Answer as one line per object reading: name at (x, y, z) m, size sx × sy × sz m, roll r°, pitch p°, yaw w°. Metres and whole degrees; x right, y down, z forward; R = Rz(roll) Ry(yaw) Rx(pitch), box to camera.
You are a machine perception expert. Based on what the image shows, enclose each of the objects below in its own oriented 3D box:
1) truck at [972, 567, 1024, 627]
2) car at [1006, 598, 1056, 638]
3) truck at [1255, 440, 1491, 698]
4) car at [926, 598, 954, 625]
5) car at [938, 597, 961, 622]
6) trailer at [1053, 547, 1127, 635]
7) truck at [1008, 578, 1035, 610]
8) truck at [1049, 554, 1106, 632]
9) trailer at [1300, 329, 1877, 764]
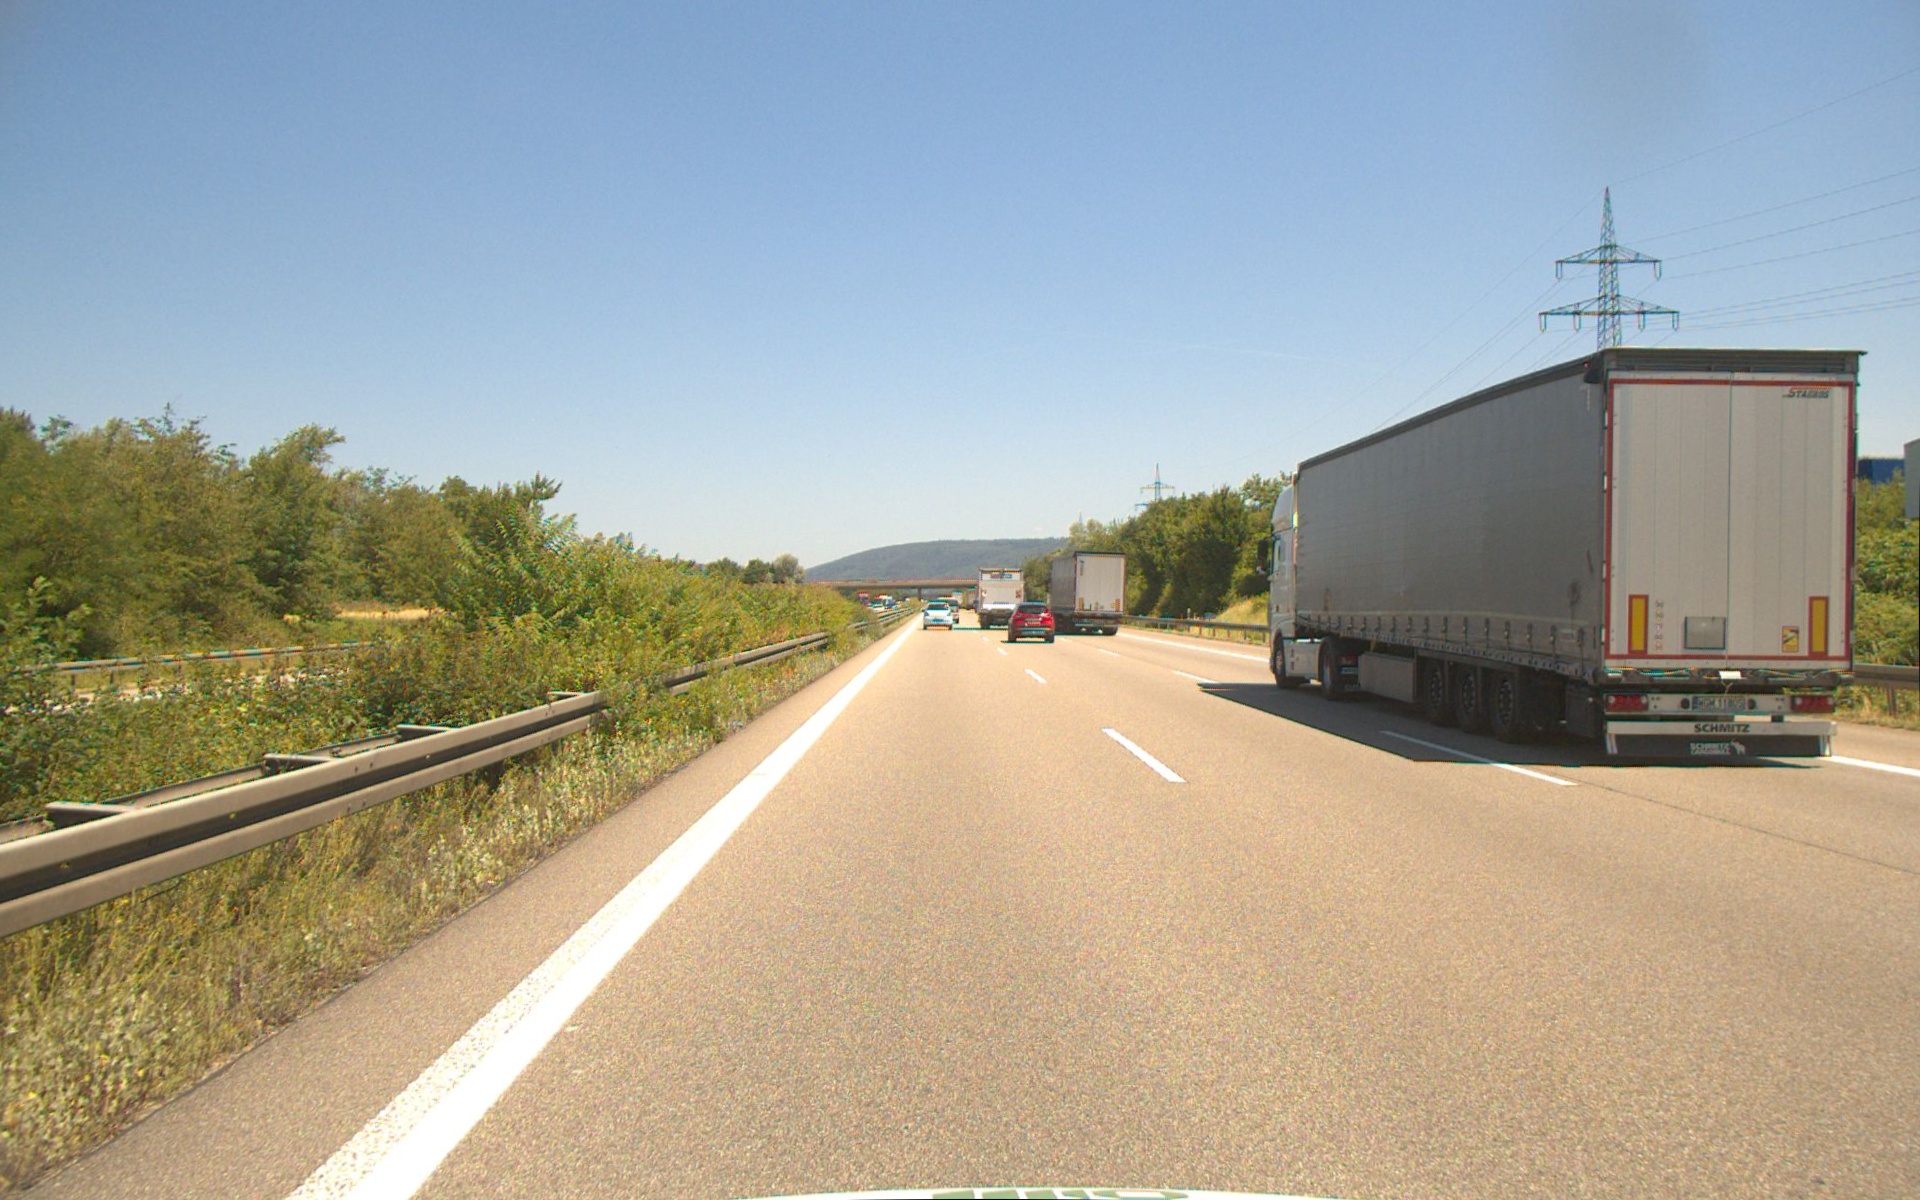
truck at (2.213, -0.166, 98.749) m, size 2.726 × 3.432 × 8.125 m, roll 1°, pitch 0°, yaw -1°
car at (2.790, 0.704, 66.083) m, size 1.766 × 1.572 × 3.999 m, roll 0°, pitch 0°, yaw -1°
truck at (7.303, -0.504, 30.118) m, size 2.680 × 4.192 × 6.123 m, roll 0°, pitch 0°, yaw -1°
car at (-1.149, 0.665, 94.272) m, size 1.574 × 1.493 × 3.999 m, roll 0°, pitch 0°, yaw -1°
car at (-0.839, 0.715, 125.327) m, size 1.725 × 1.883 × 3.999 m, roll 0°, pitch 0°, yaw -1°
trailer at (6.679, -0.404, 86.913) m, size 2.732 × 4.237 × 13.572 m, roll -1°, pitch 0°, yaw 0°
truck at (6.412, -0.634, 173.402) m, size 2.176 × 3.265 × 10.382 m, roll -1°, pitch 0°, yaw -1°
truck at (6.636, -0.396, 93.796) m, size 2.738 × 4.237 × 5.721 m, roll -1°, pitch 0°, yaw -1°
trailer at (7.413, -0.507, 22.503) m, size 2.680 × 4.178 × 13.119 m, roll 0°, pitch 0°, yaw -1°
